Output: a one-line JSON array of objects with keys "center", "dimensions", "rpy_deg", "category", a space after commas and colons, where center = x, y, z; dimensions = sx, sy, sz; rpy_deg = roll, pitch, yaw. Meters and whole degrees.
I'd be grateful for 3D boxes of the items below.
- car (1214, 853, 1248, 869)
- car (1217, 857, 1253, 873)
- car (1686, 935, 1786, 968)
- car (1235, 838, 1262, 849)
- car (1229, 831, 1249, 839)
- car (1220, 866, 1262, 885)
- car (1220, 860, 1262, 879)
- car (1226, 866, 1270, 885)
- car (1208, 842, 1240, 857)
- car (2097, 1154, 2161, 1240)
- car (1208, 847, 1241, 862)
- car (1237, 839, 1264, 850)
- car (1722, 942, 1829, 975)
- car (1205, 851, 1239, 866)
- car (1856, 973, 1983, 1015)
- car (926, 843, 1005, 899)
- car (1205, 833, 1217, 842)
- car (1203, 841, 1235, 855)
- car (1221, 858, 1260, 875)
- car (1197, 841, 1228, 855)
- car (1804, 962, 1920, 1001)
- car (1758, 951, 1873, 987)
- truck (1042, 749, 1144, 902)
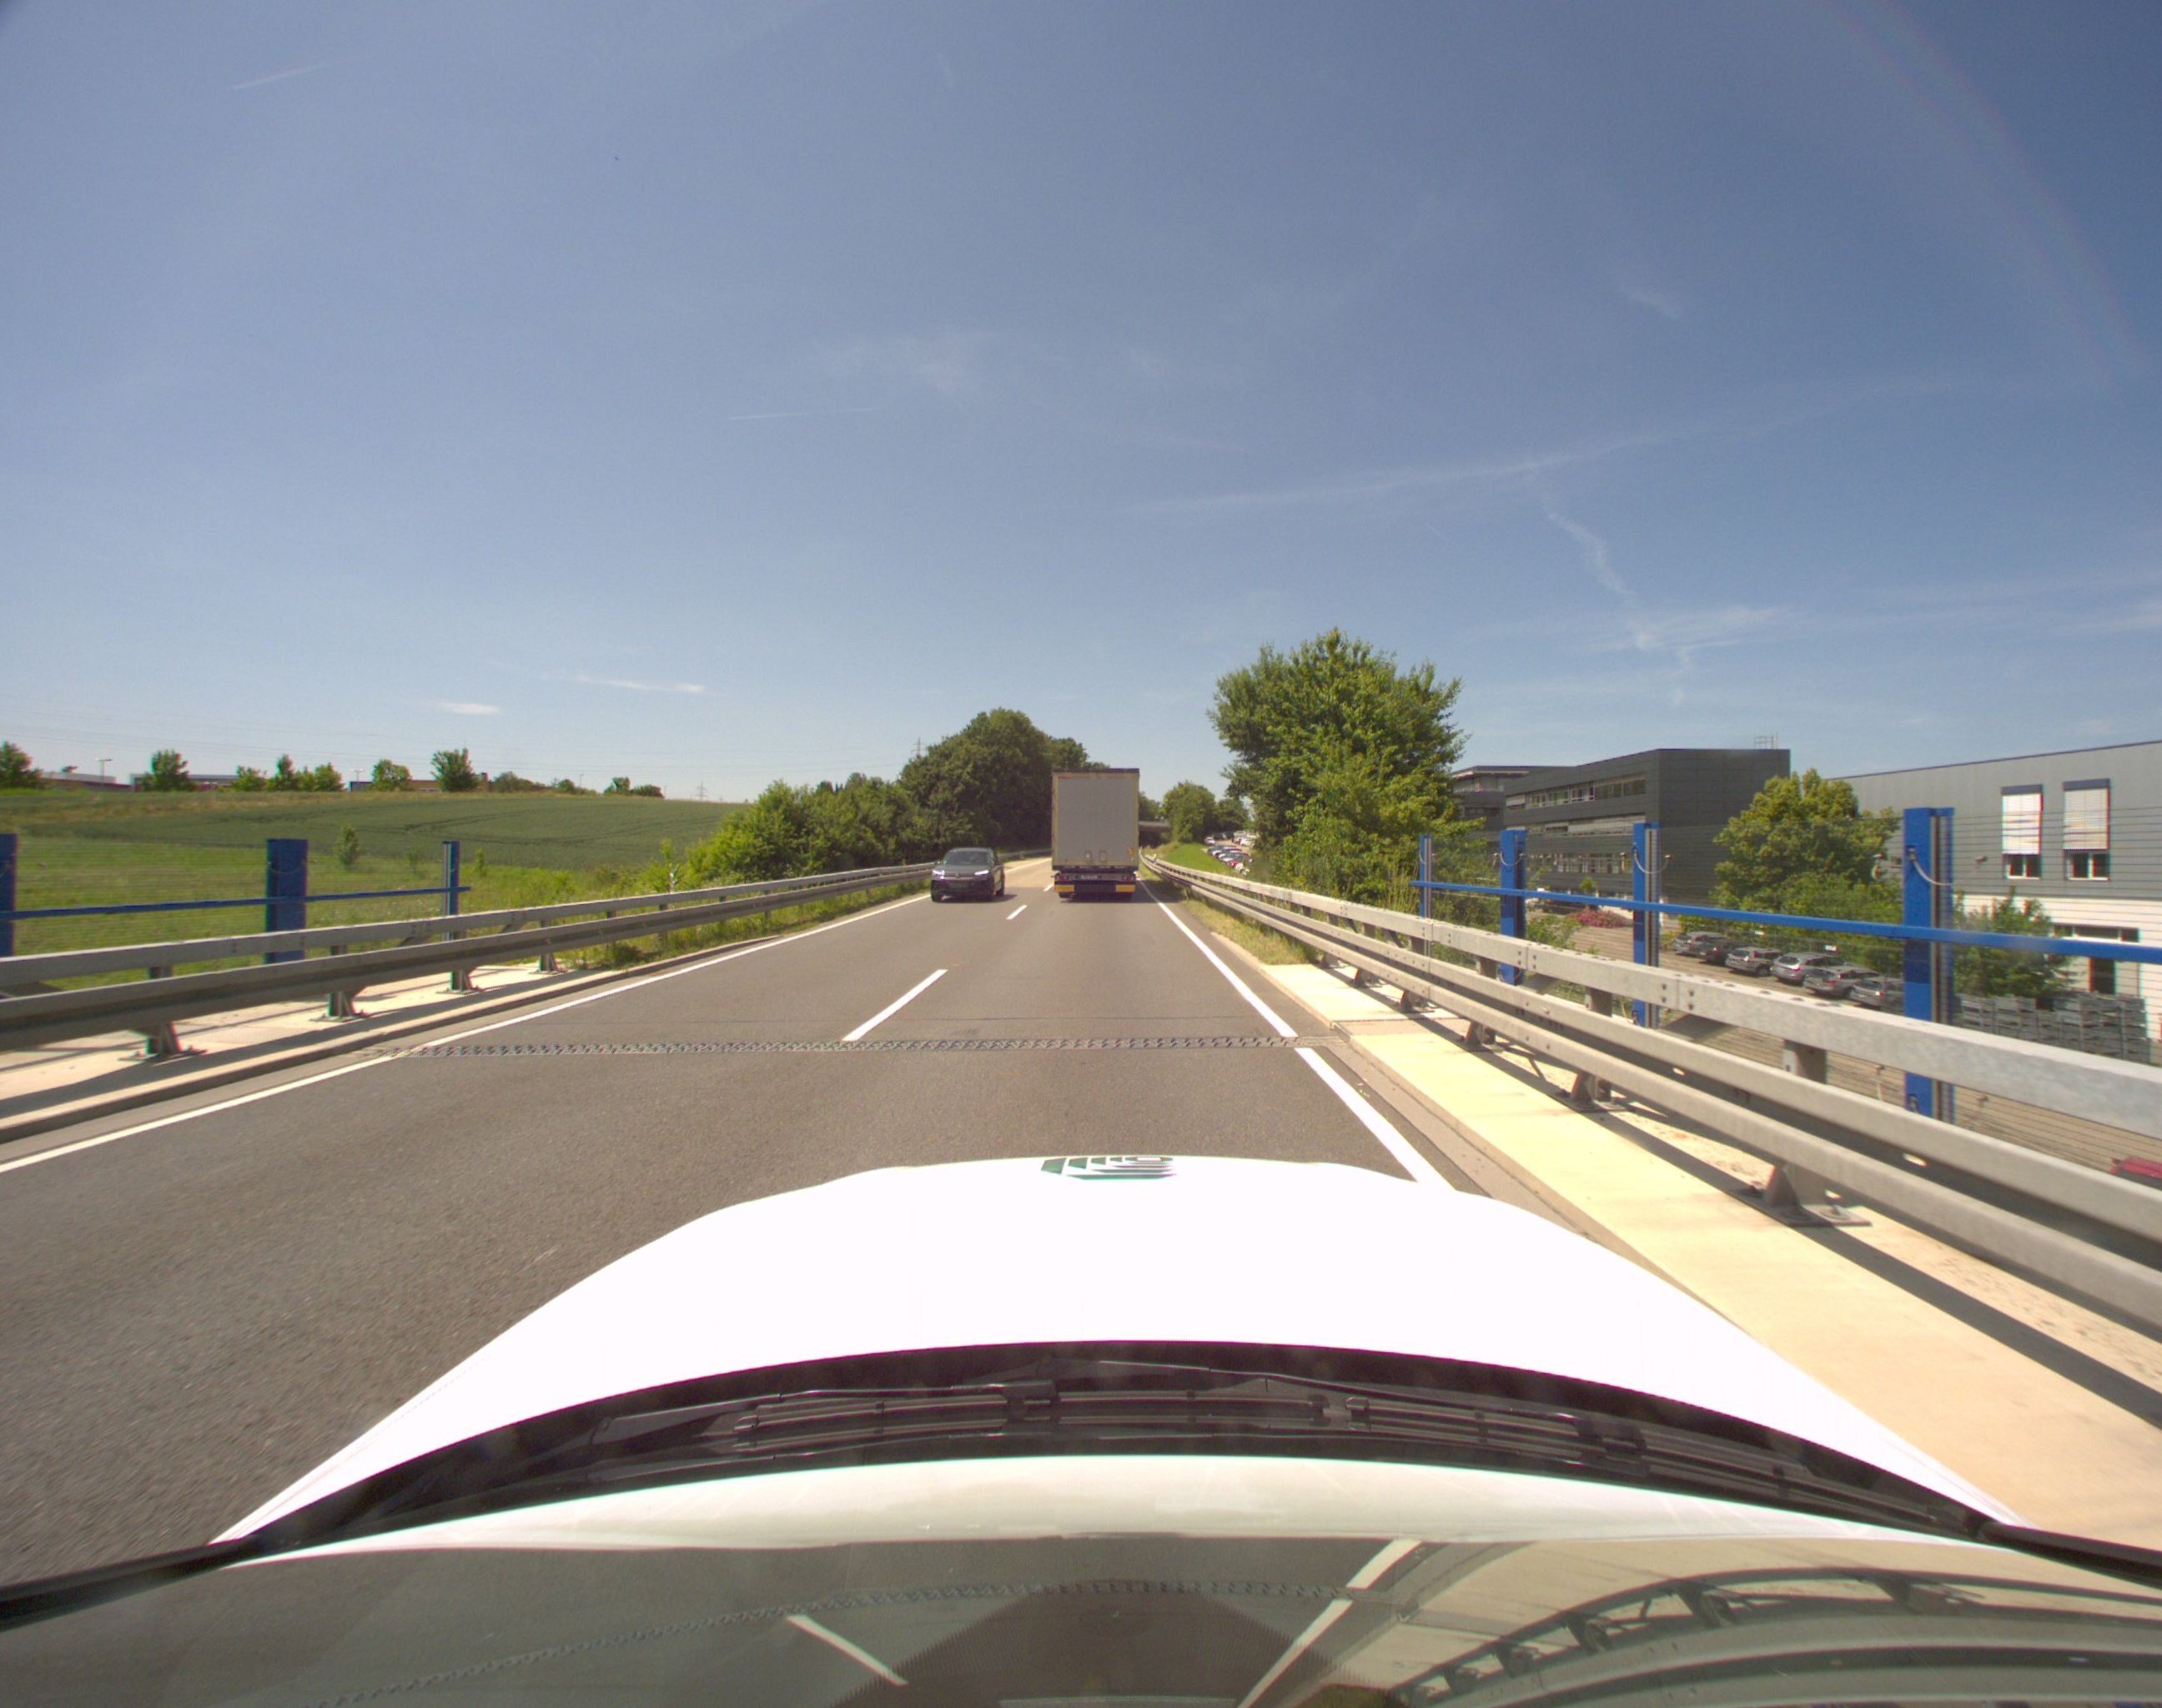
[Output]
[{"center": [20.381, 0.973, 110.552], "dimensions": [4.393, 1.684, 1.870], "rpy_deg": [3, 4, -33], "category": "car"}, {"center": [20.359, 1.453, 107.483], "dimensions": [4.393, 1.684, 1.870], "rpy_deg": [3, 4, -33], "category": "car"}, {"center": [39.971, 5.919, 49.789], "dimensions": [4.556, 1.571, 1.821], "rpy_deg": [2, 3, 0], "category": "car"}, {"center": [30.866, -1.901, 150.012], "dimensions": [4.532, 1.628, 1.831], "rpy_deg": [5, 3, 24], "category": "car"}, {"center": [36.984, -4.339, 190.525], "dimensions": [4.383, 1.684, 1.874], "rpy_deg": [0, 6, -25], "category": "car"}, {"center": [18.732, 2.473, 95.467], "dimensions": [4.323, 1.558, 1.900], "rpy_deg": [8, 4, 32], "category": "car"}, {"center": [19.347, 1.828, 98.446], "dimensions": [4.407, 1.684, 1.899], "rpy_deg": [8, 4, 25], "category": "car"}, {"center": [18.804, 2.376, 91.726], "dimensions": [4.324, 1.558, 1.899], "rpy_deg": [8, 4, 27], "category": "car"}, {"center": [21.310, -0.650, 121.424], "dimensions": [4.383, 1.684, 1.874], "rpy_deg": [4, 4, -25], "category": "car"}, {"center": [25.265, 8.082, 19.091], "dimensions": [3.695, 1.148, 1.496], "rpy_deg": [7, 0, -34], "category": "car"}, {"center": [20.775, 0.045, 117.991], "dimensions": [4.383, 1.684, 1.874], "rpy_deg": [4, 4, -25], "category": "car"}, {"center": [30.654, -1.763, 147.346], "dimensions": [4.532, 1.628, 1.831], "rpy_deg": [5, 3, 24], "category": "car"}, {"center": [39.941, 6.018, 46.920], "dimensions": [4.555, 1.571, 1.821], "rpy_deg": [0, 3, 0], "category": "car"}, {"center": [19.651, 0.648, 113.391], "dimensions": [4.393, 1.684, 1.870], "rpy_deg": [3, 4, -33], "category": "car"}, {"center": [40.031, 6.674, 38.957], "dimensions": [4.023, 1.571, 1.913], "rpy_deg": [0, 3, 1], "category": "car"}, {"center": [-3.556, 0.474, 25.816], "dimensions": [1.859, 1.611, 4.373], "rpy_deg": [0, 0, 0], "category": "car"}, {"center": [24.303, -3.024, 152.642], "dimensions": [1.619, 1.353, 3.712], "rpy_deg": [6, 4, 0], "category": "car"}, {"center": [21.015, -0.879, 124.085], "dimensions": [4.383, 1.684, 1.874], "rpy_deg": [4, 4, -25], "category": "car"}, {"center": [19.942, 1.578, 101.915], "dimensions": [4.375, 1.684, 1.878], "rpy_deg": [5, 4, -19], "category": "car"}, {"center": [20.517, -0.922, 126.837], "dimensions": [4.383, 1.684, 1.874], "rpy_deg": [4, 4, -25], "category": "car"}, {"center": [39.767, 6.494, 41.556], "dimensions": [4.023, 1.571, 1.913], "rpy_deg": [0, 3, 1], "category": "car"}, {"center": [39.870, 6.251, 44.287], "dimensions": [4.555, 1.571, 1.821], "rpy_deg": [0, 3, 0], "category": "car"}, {"center": [0.495, -0.935, 28.458], "dimensions": [2.855, 4.358, 9.793], "rpy_deg": [1, 1, 2], "category": "truck"}]
